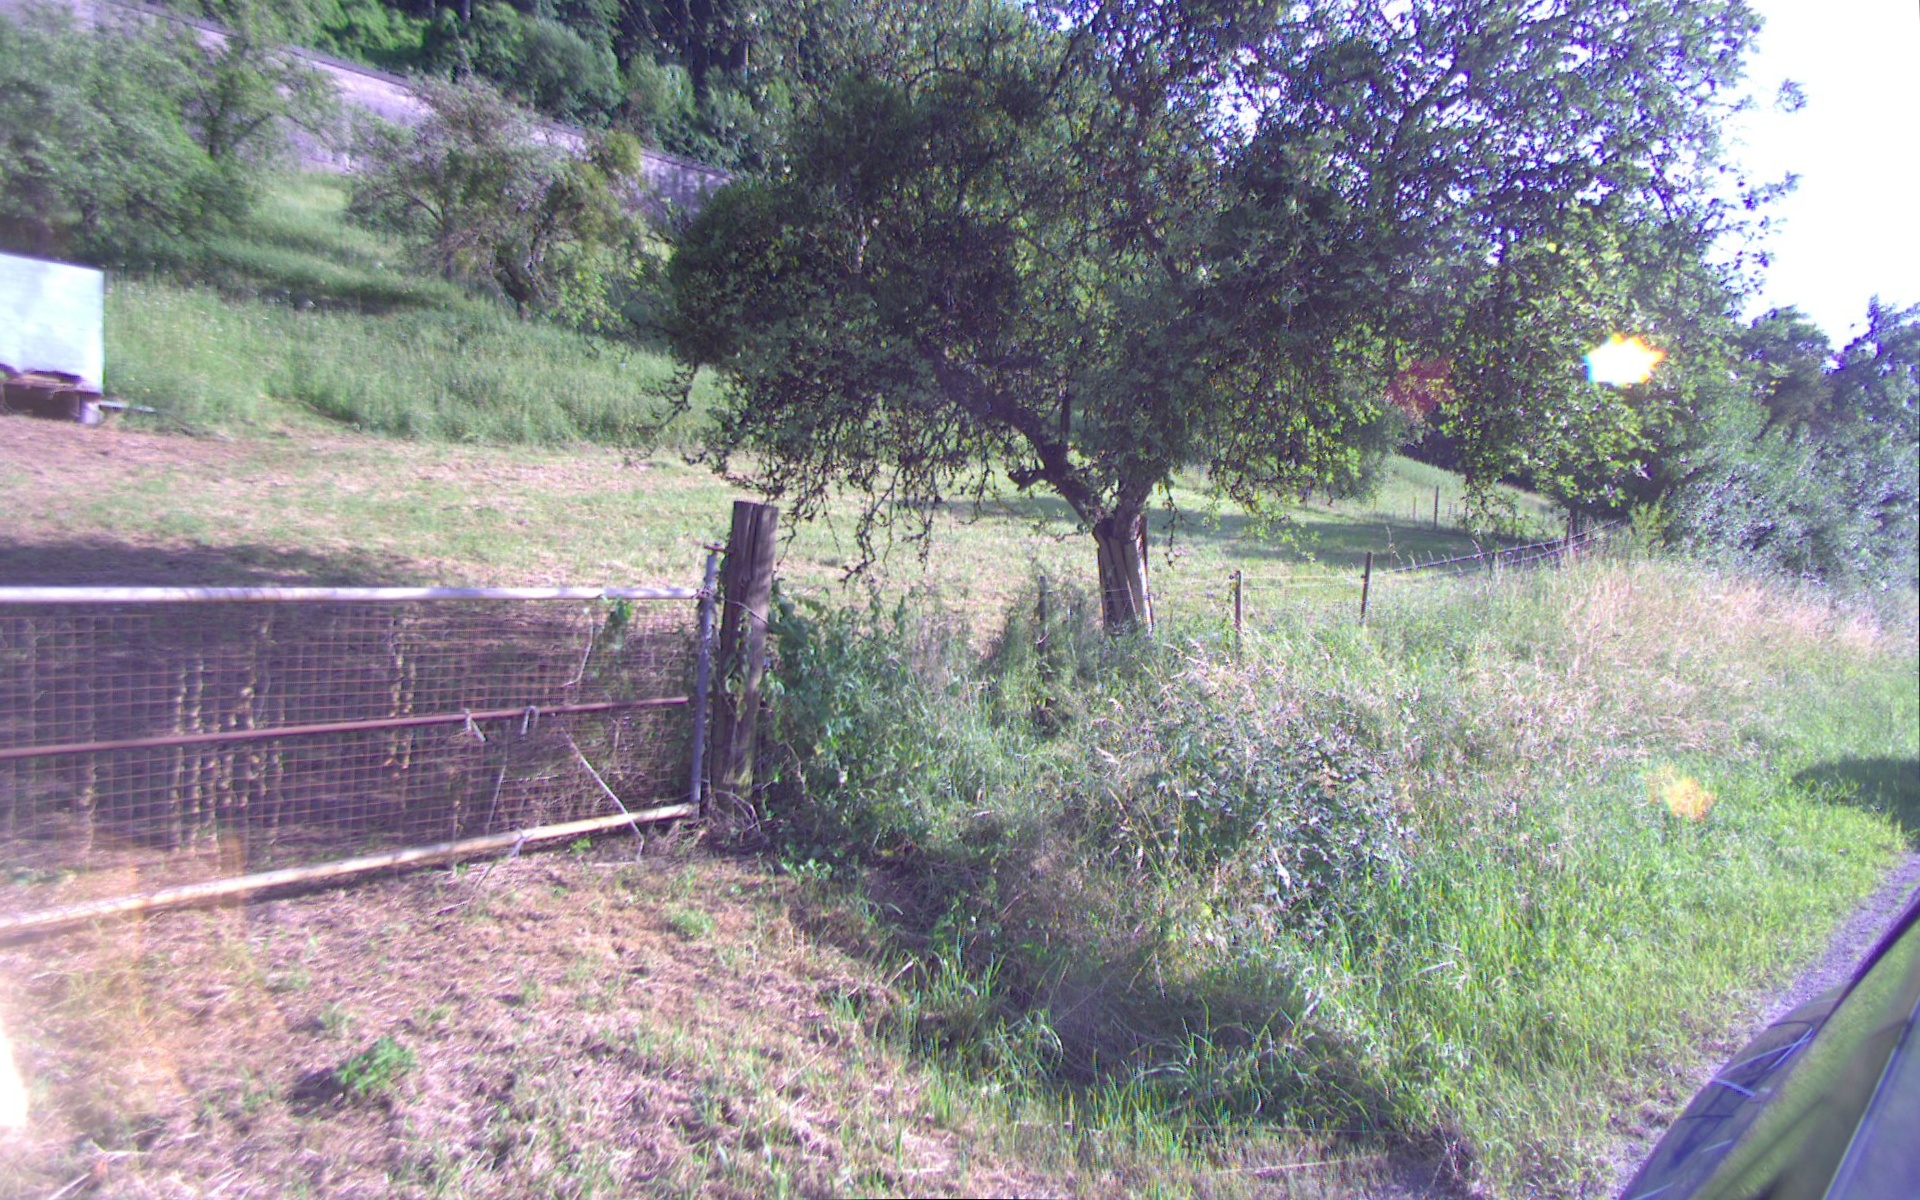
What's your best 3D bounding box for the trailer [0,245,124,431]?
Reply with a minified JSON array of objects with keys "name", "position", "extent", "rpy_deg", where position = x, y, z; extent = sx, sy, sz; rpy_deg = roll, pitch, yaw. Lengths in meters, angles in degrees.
[{"name":"trailer","position":[-16.791,-4.452,16.066],"extent":[5.159,2.590,2.155],"rpy_deg":[4,1,-44]}]
